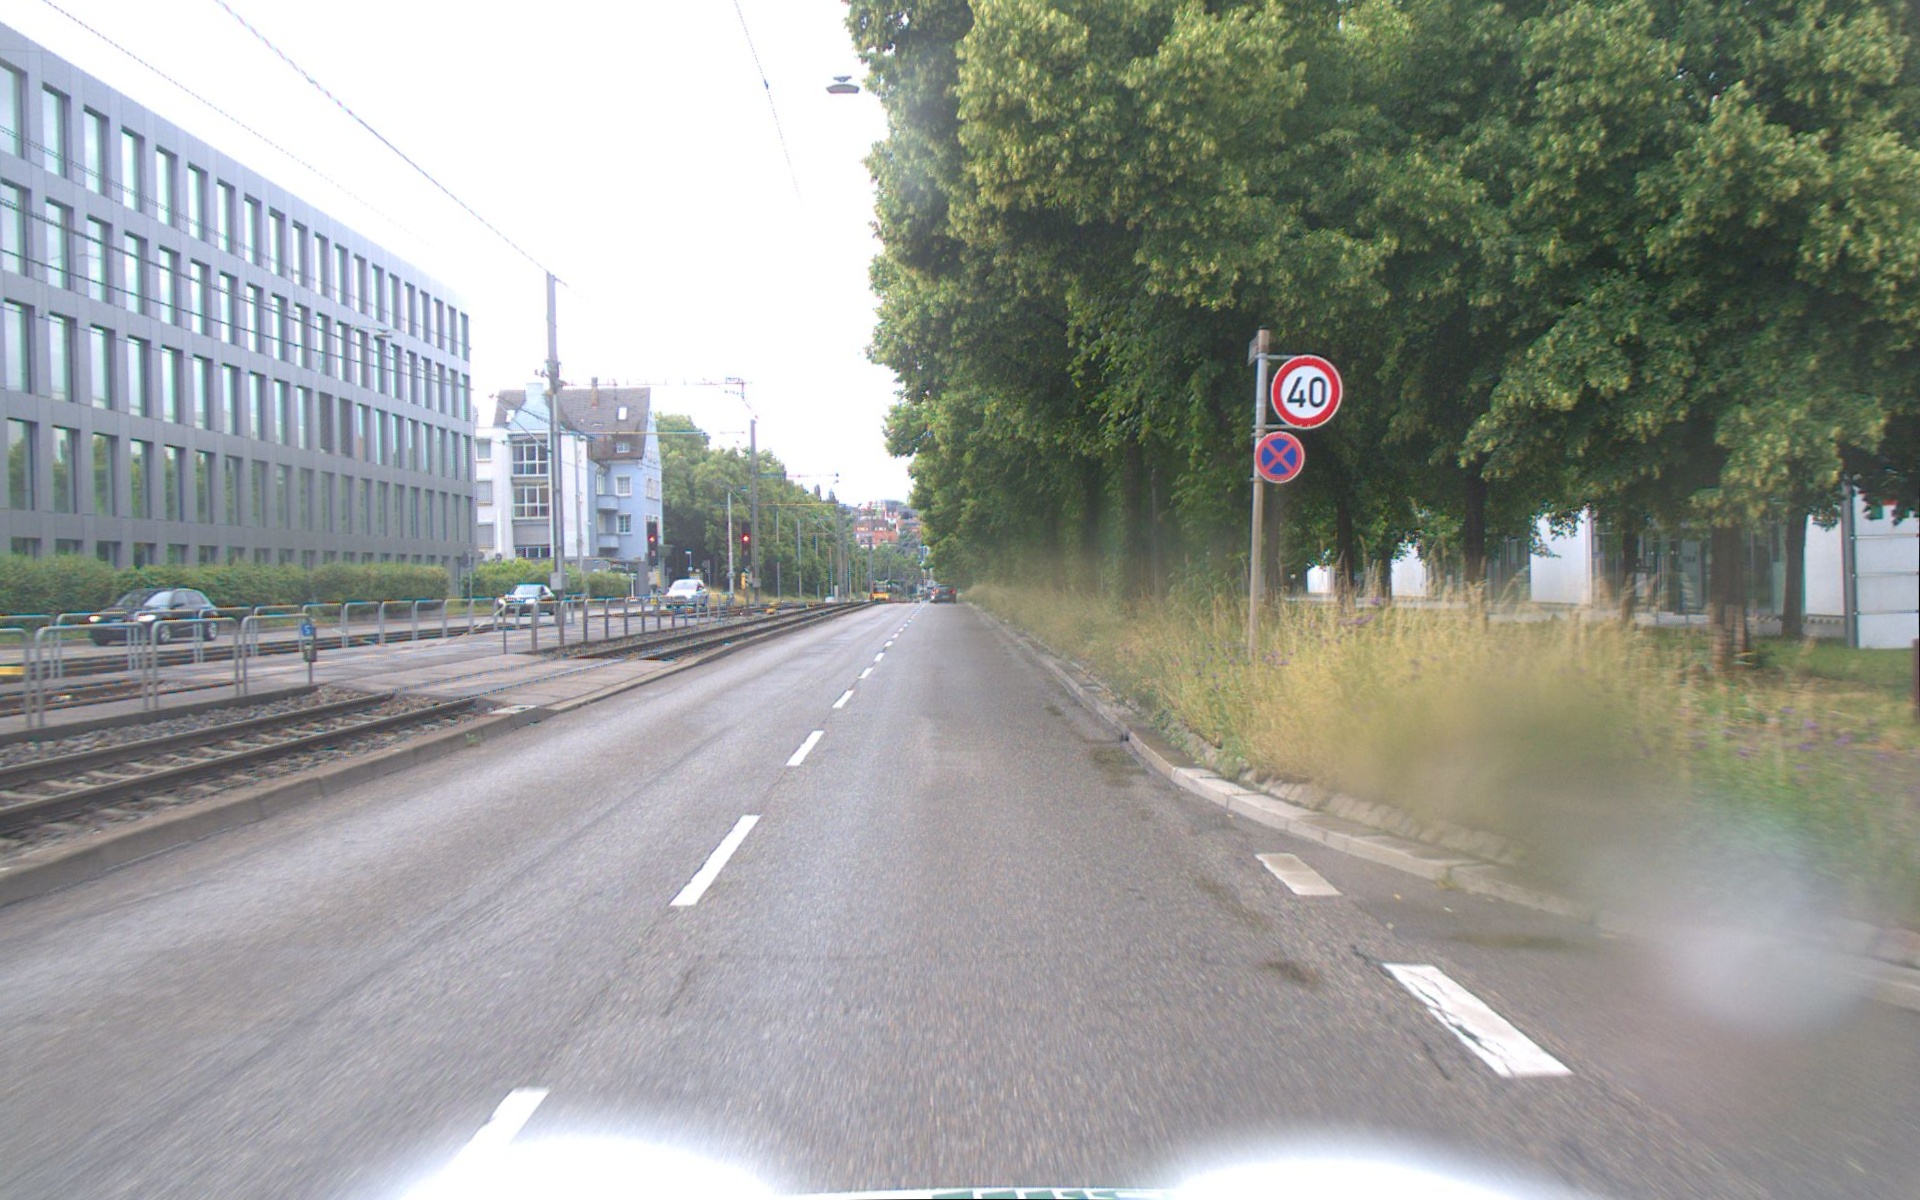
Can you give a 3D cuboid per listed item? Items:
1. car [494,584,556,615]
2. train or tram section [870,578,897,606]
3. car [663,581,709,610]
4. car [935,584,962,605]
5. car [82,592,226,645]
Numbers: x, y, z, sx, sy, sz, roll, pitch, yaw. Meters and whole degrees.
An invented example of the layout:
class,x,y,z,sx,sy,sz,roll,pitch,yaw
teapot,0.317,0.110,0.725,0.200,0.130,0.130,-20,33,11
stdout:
class,x,y,z,sx,sy,sz,roll,pitch,yaw
car,-19.968,-0.017,76.071,1.761,1.370,4.259,-1,0,0
train or tram section,-11.604,-1.183,251.678,3.148,3.863,14.789,-1,-1,1
car,-16.342,-0.263,98.959,1.863,1.673,4.884,-1,0,1
car,-0.881,-0.413,124.274,1.942,1.466,4.473,-1,0,0
car,-20.449,0.451,42.128,1.720,1.266,3.987,-1,0,0
